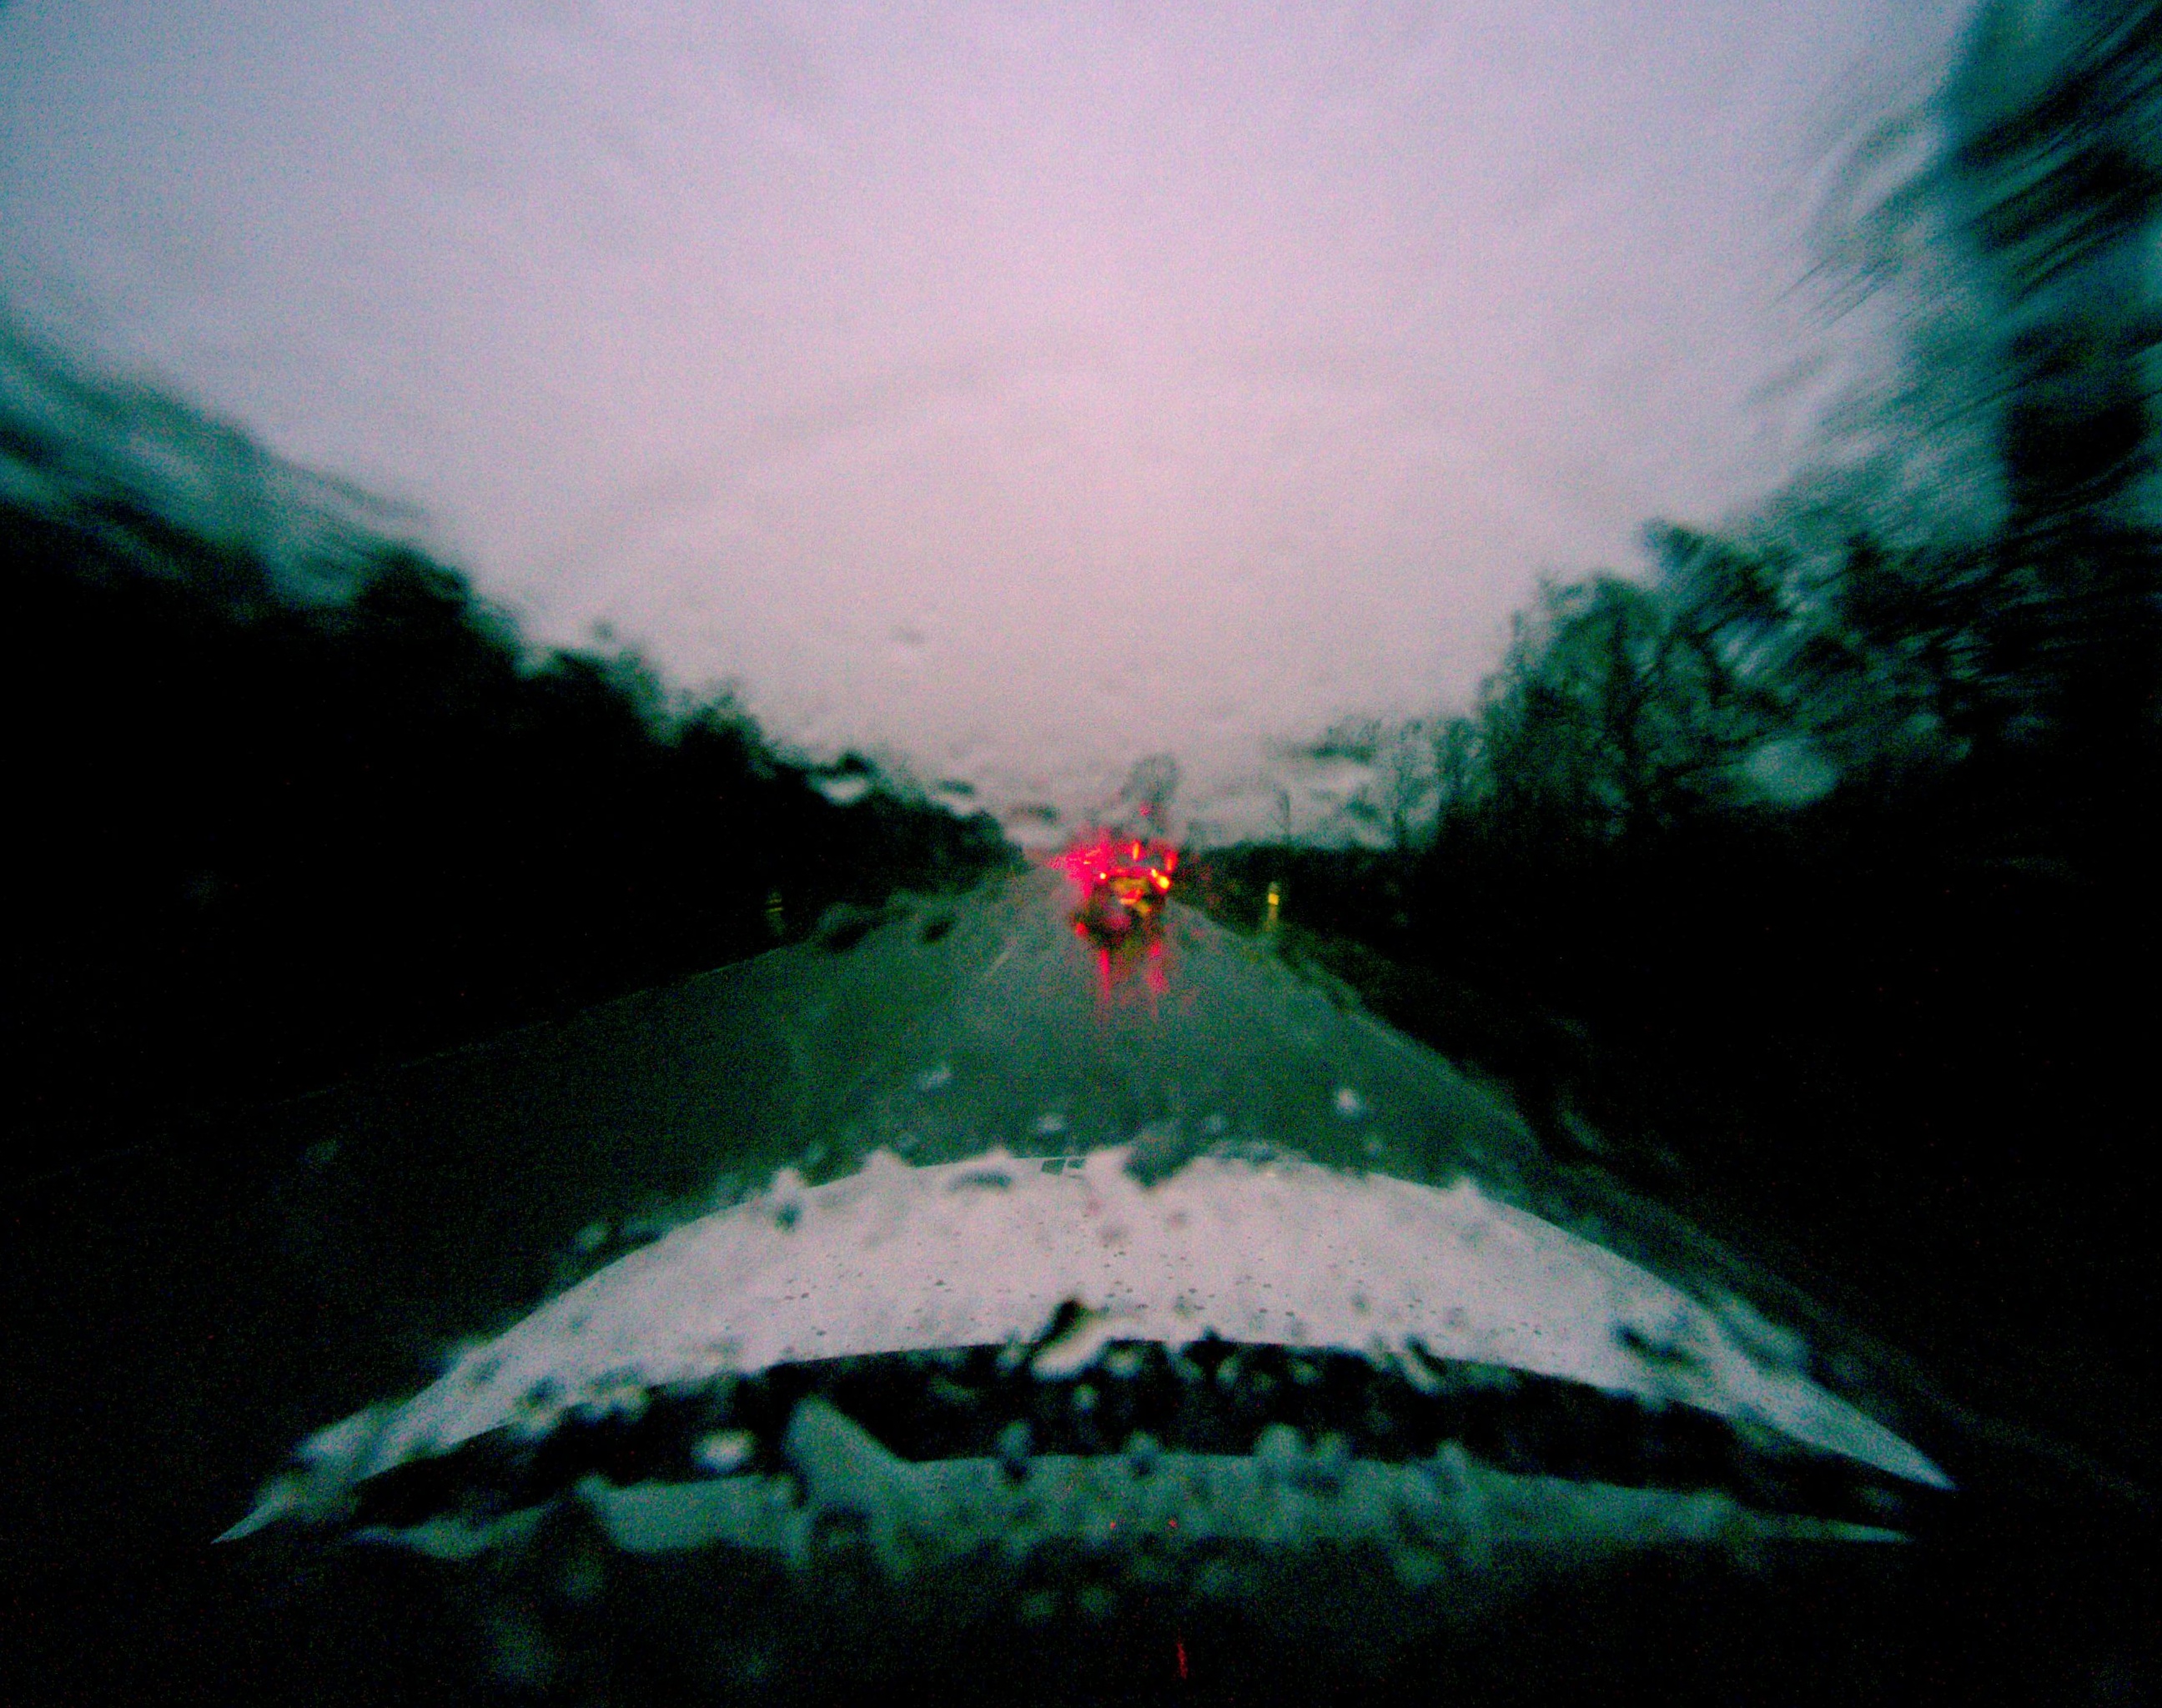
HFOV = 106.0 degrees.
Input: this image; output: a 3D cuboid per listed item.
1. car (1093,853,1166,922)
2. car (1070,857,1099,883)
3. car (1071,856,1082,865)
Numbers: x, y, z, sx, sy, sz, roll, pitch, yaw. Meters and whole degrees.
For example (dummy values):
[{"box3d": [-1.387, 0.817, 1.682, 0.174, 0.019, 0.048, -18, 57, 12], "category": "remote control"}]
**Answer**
[{"box3d": [1.186, 0.745, 19.942, 1.595, 1.522, 3.872, -1, 0, 3], "category": "car"}, {"box3d": [0.226, 0.856, 46.422, 1.541, 1.397, 3.870, -1, 0, 1], "category": "car"}, {"box3d": [-0.766, 1.114, 137.651, 1.540, 1.397, 3.874, -1, 0, 4], "category": "car"}]
